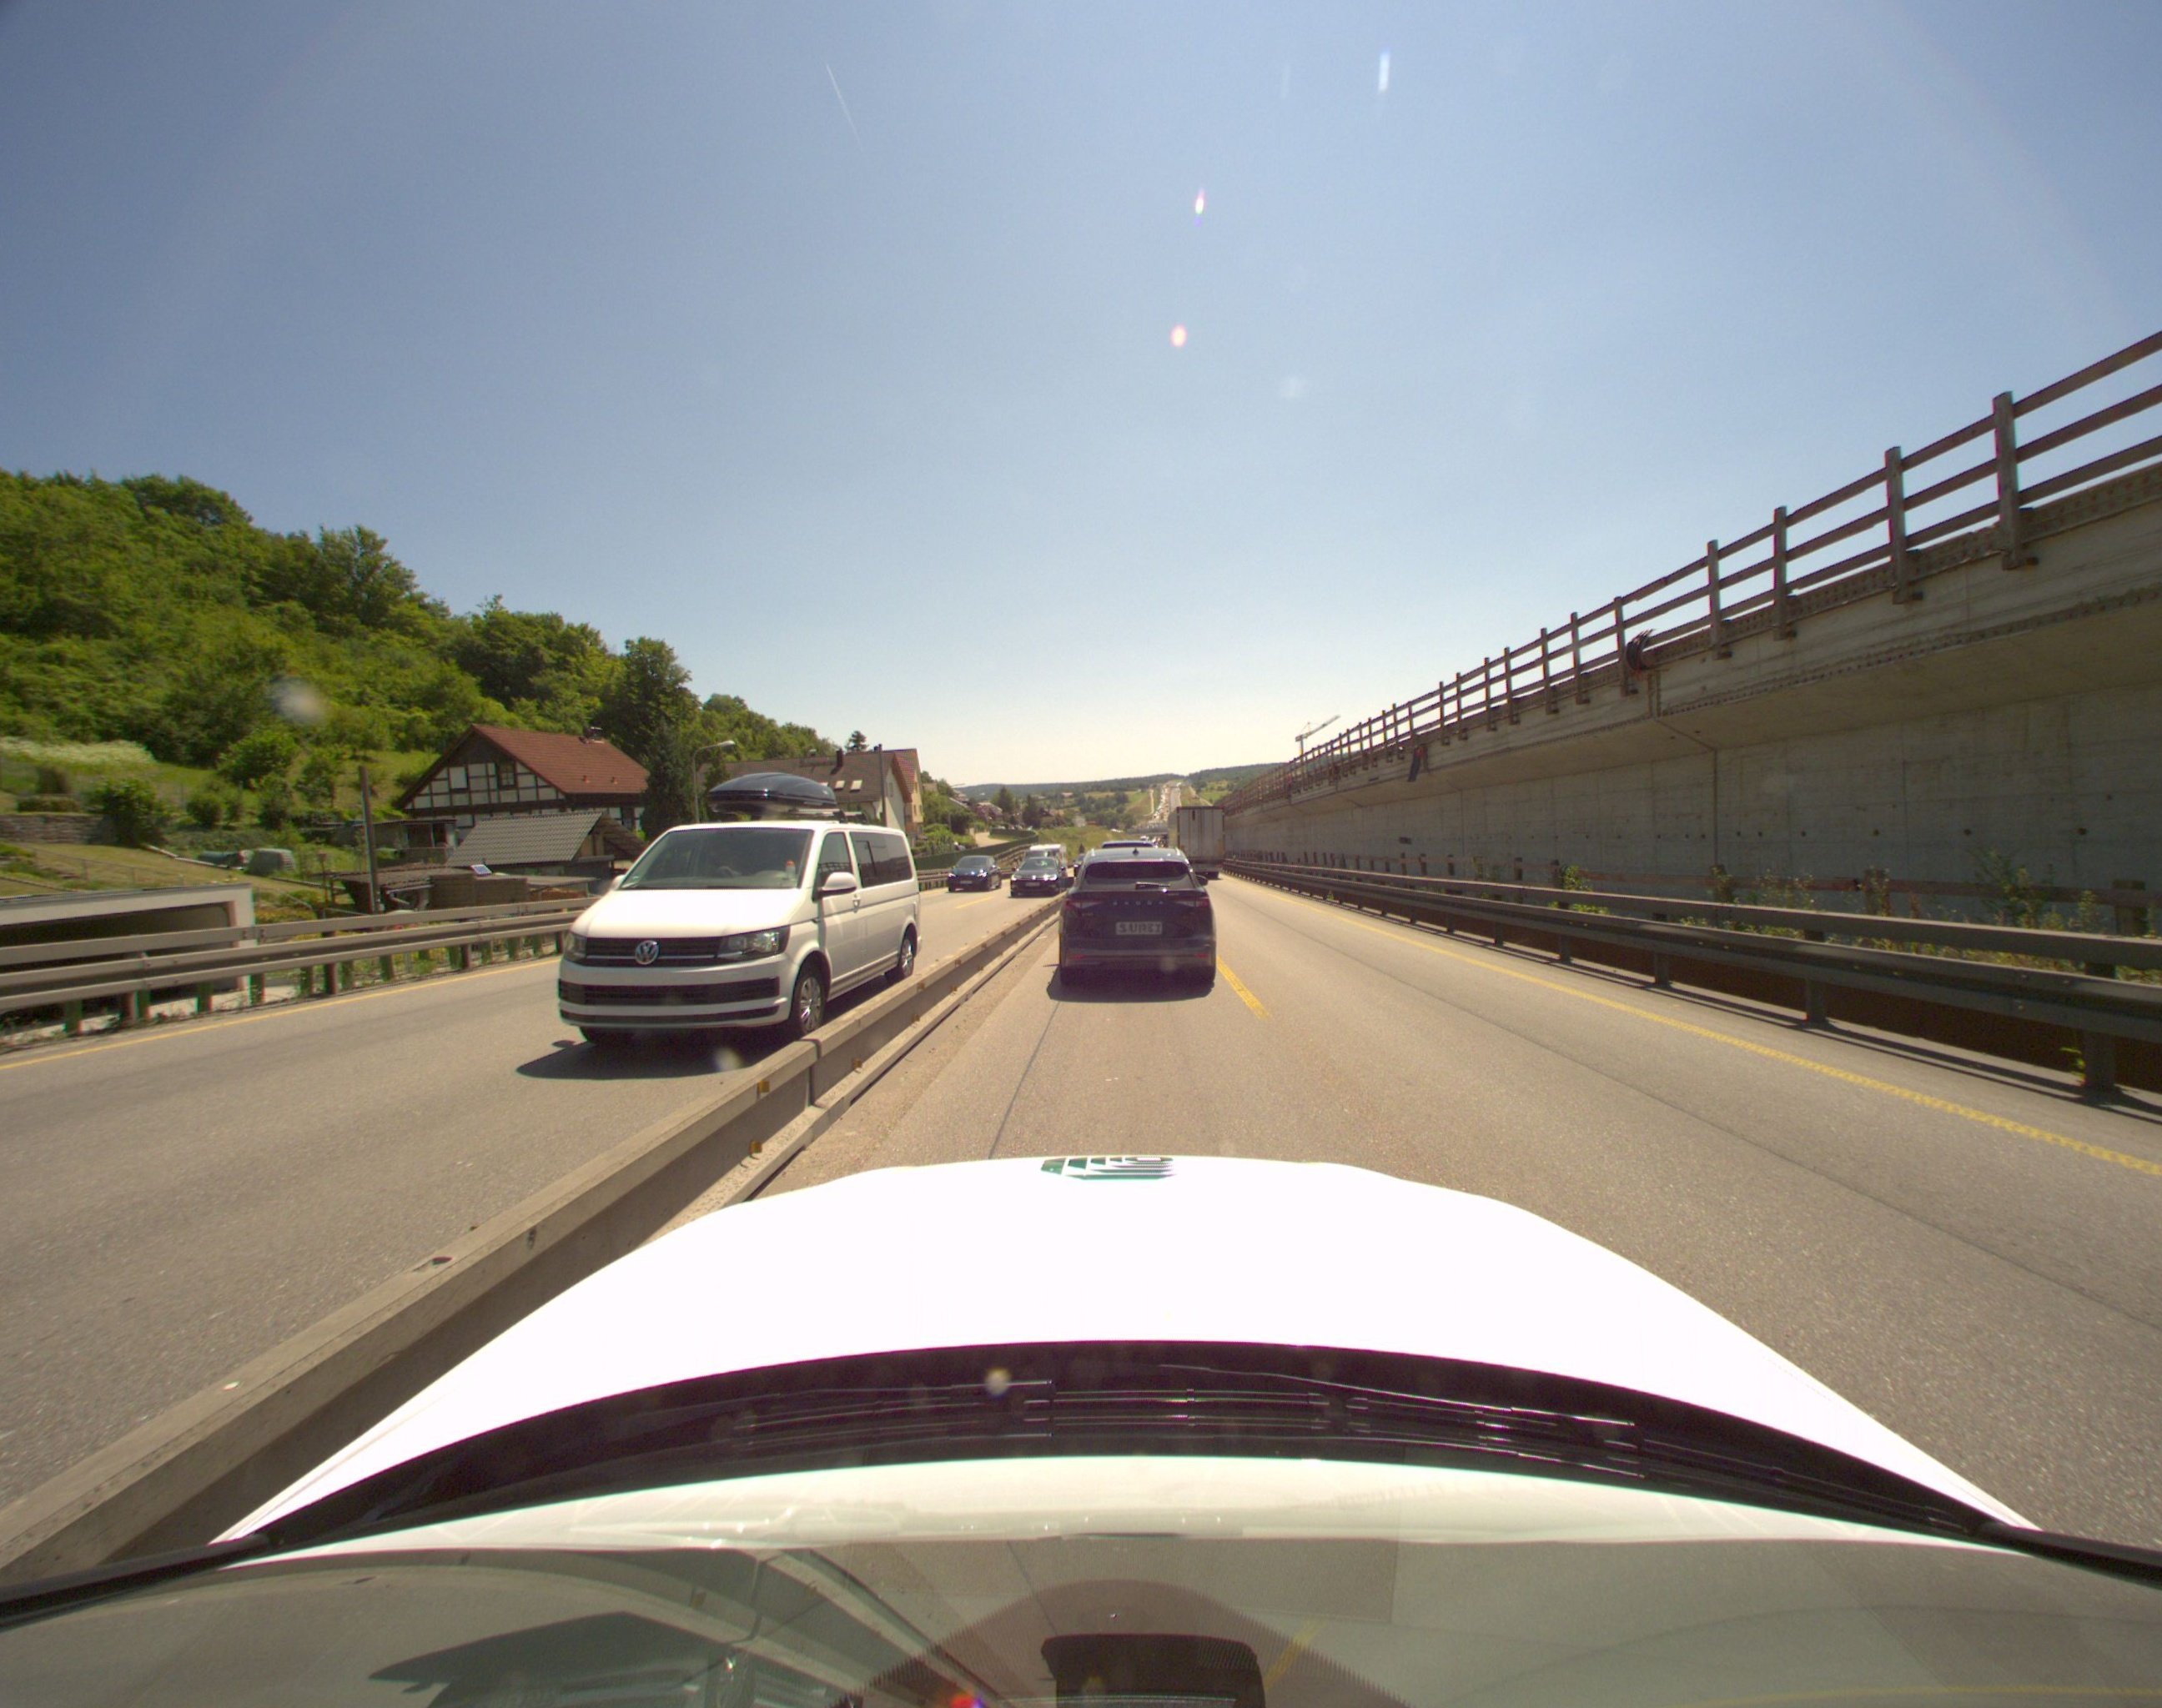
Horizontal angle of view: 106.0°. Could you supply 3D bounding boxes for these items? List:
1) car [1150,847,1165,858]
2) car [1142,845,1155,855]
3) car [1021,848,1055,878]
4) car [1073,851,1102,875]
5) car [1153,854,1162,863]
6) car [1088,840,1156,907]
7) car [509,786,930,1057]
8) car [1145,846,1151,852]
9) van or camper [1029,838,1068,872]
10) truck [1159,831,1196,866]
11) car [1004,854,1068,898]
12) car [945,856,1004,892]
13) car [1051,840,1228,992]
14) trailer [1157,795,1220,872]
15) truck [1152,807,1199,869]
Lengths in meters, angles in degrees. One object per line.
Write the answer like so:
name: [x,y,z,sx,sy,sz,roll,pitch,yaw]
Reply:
car: [11.201,-0.216,119.601,1.986,1.585,3.837,-1,-1,2]
car: [11.380,-0.588,137.271,1.986,1.585,3.837,-1,-1,2]
car: [-2.959,0.645,56.673,1.985,2.014,4.002,-1,-1,3]
car: [0.476,0.675,58.074,1.864,1.586,4.482,-1,-1,3]
car: [14.429,0.836,153.117,1.692,1.728,3.842,-1,-1,5]
car: [1.203,0.547,25.274,1.703,1.881,3.996,-1,0,-3]
car: [-3.106,0.543,8.418,2.015,1.960,4.900,-1,-1,2]
car: [20.811,-1.483,252.360,1.837,1.585,3.839,-1,-1,3]
van or camper: [-2.455,0.125,63.954,2.343,2.516,6.334,-1,-1,4]
truck: [9.751,-0.414,83.404,3.180,3.191,12.823,-1,-1,4]
car: [-1.618,0.812,30.805,1.986,1.504,4.651,-1,-1,2]
car: [-4.646,0.883,35.929,1.835,1.460,4.180,-1,-1,3]
car: [0.552,0.694,10.600,1.838,1.586,3.903,-1,-1,-3]
trailer: [6.344,-0.979,49.773,2.523,4.127,11.548,-1,-1,1]
truck: [6.507,-0.946,57.153,2.504,4.025,8.239,-1,-1,1]
